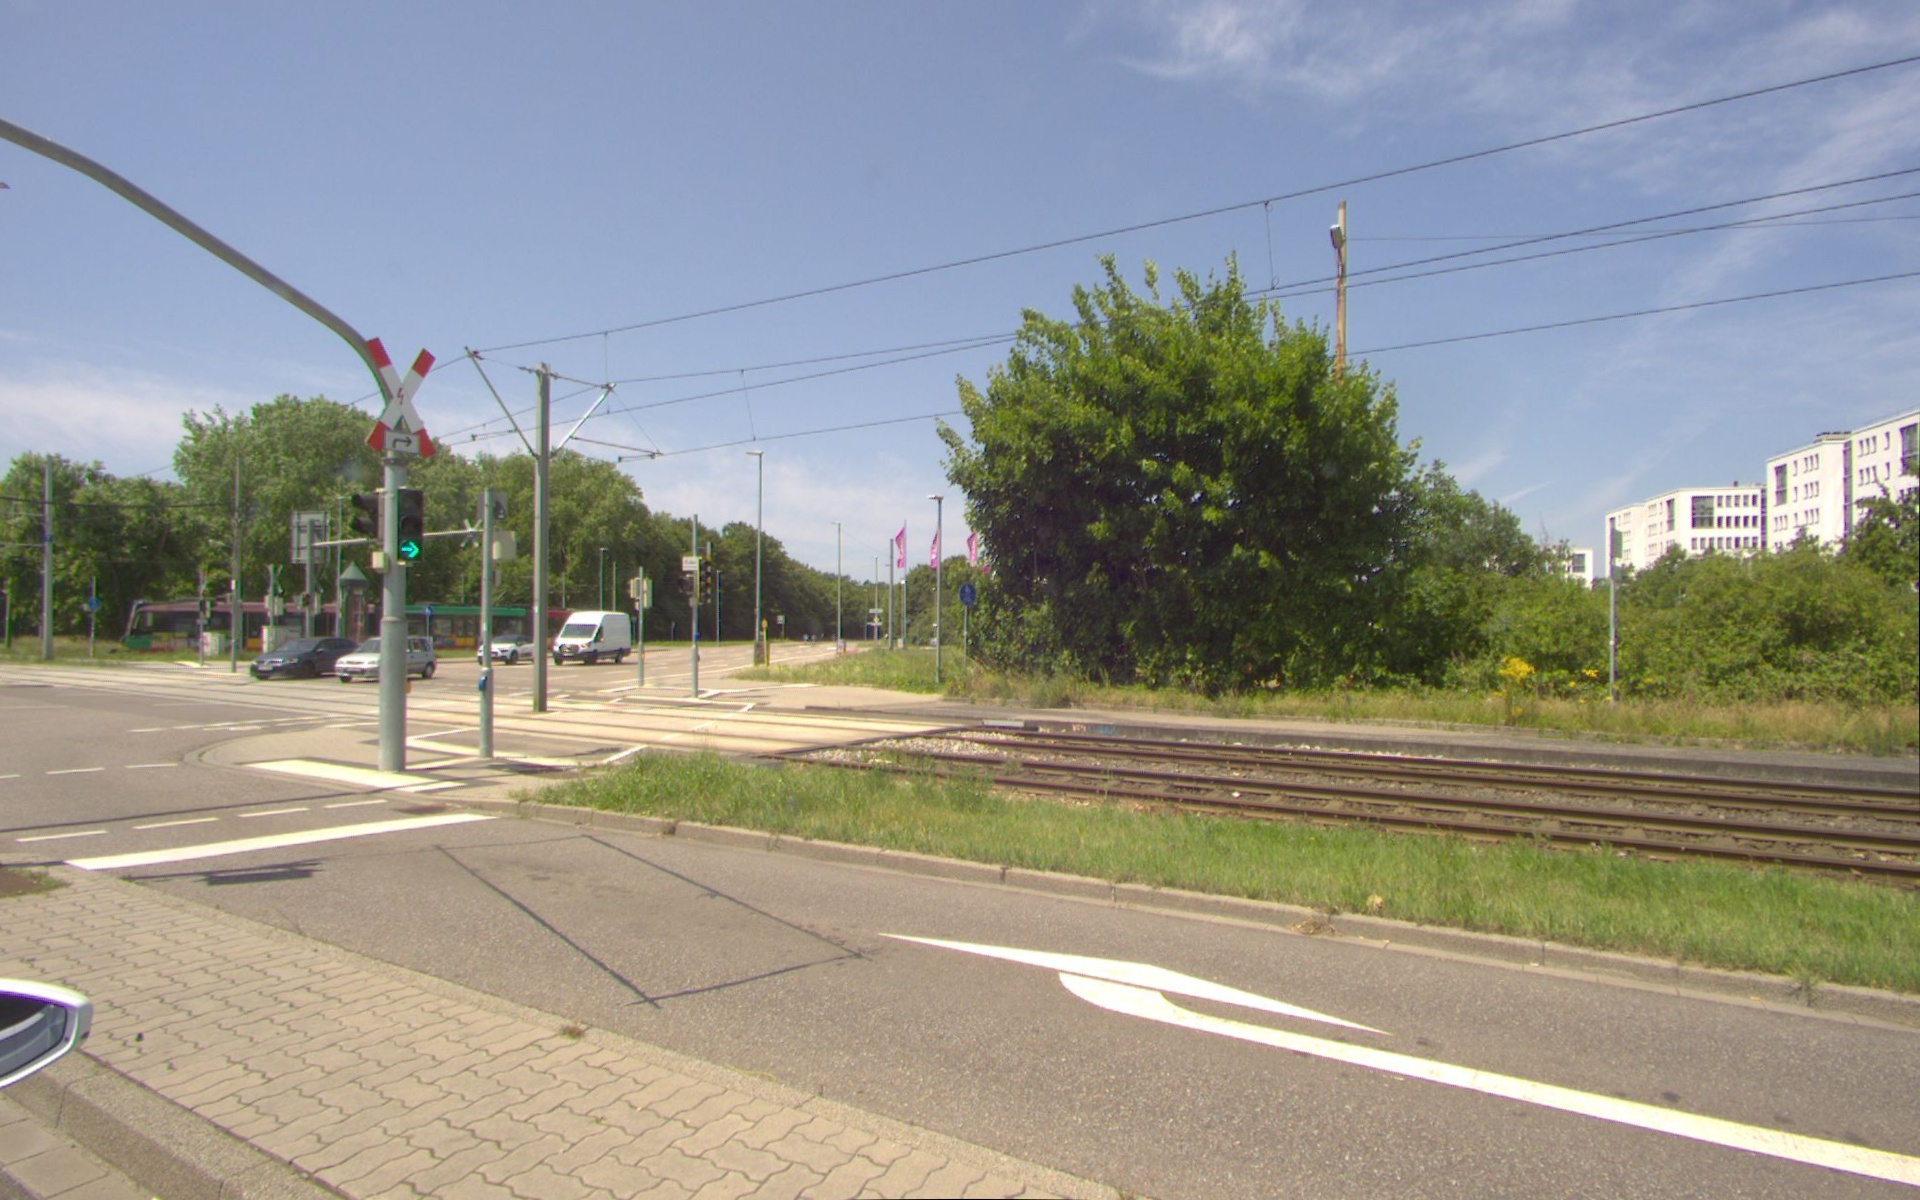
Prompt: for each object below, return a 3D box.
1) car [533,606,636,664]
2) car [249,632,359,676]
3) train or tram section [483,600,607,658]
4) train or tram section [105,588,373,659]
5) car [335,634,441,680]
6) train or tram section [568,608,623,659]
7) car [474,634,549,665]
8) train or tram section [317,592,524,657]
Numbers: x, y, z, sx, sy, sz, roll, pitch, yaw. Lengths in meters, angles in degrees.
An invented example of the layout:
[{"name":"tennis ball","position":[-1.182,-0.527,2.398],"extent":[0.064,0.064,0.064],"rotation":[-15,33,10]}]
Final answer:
[{"name":"car","position":[-19.670,1.857,52.938],"extent":[2.664,2.838,7.287],"rotation":[0,-2,0]},{"name":"car","position":[-23.369,1.894,35.829],"extent":[1.608,1.481,3.510],"rotation":[0,-2,0]},{"name":"train or tram section","position":[-32.974,2.527,80.651],"extent":[2.867,3.965,14.058],"rotation":[-2,-4,6]},{"name":"train or tram section","position":[-43.431,1.553,61.021],"extent":[12.922,3.857,2.904],"rotation":[2,-5,-38]},{"name":"car","position":[-19.655,1.928,34.607],"extent":[1.608,1.481,3.807],"rotation":[0,-2,-3]},{"name":"train or tram section","position":[-33.366,3.234,92.217],"extent":[2.869,3.965,13.968],"rotation":[-1,-4,-12]},{"name":"car","position":[-22.627,2.474,50.674],"extent":[1.608,1.481,4.495],"rotation":[0,-2,3]},{"name":"train or tram section","position":[-36.603,1.888,68.980],"extent":[2.878,3.856,13.418],"rotation":[-3,-5,26]}]
